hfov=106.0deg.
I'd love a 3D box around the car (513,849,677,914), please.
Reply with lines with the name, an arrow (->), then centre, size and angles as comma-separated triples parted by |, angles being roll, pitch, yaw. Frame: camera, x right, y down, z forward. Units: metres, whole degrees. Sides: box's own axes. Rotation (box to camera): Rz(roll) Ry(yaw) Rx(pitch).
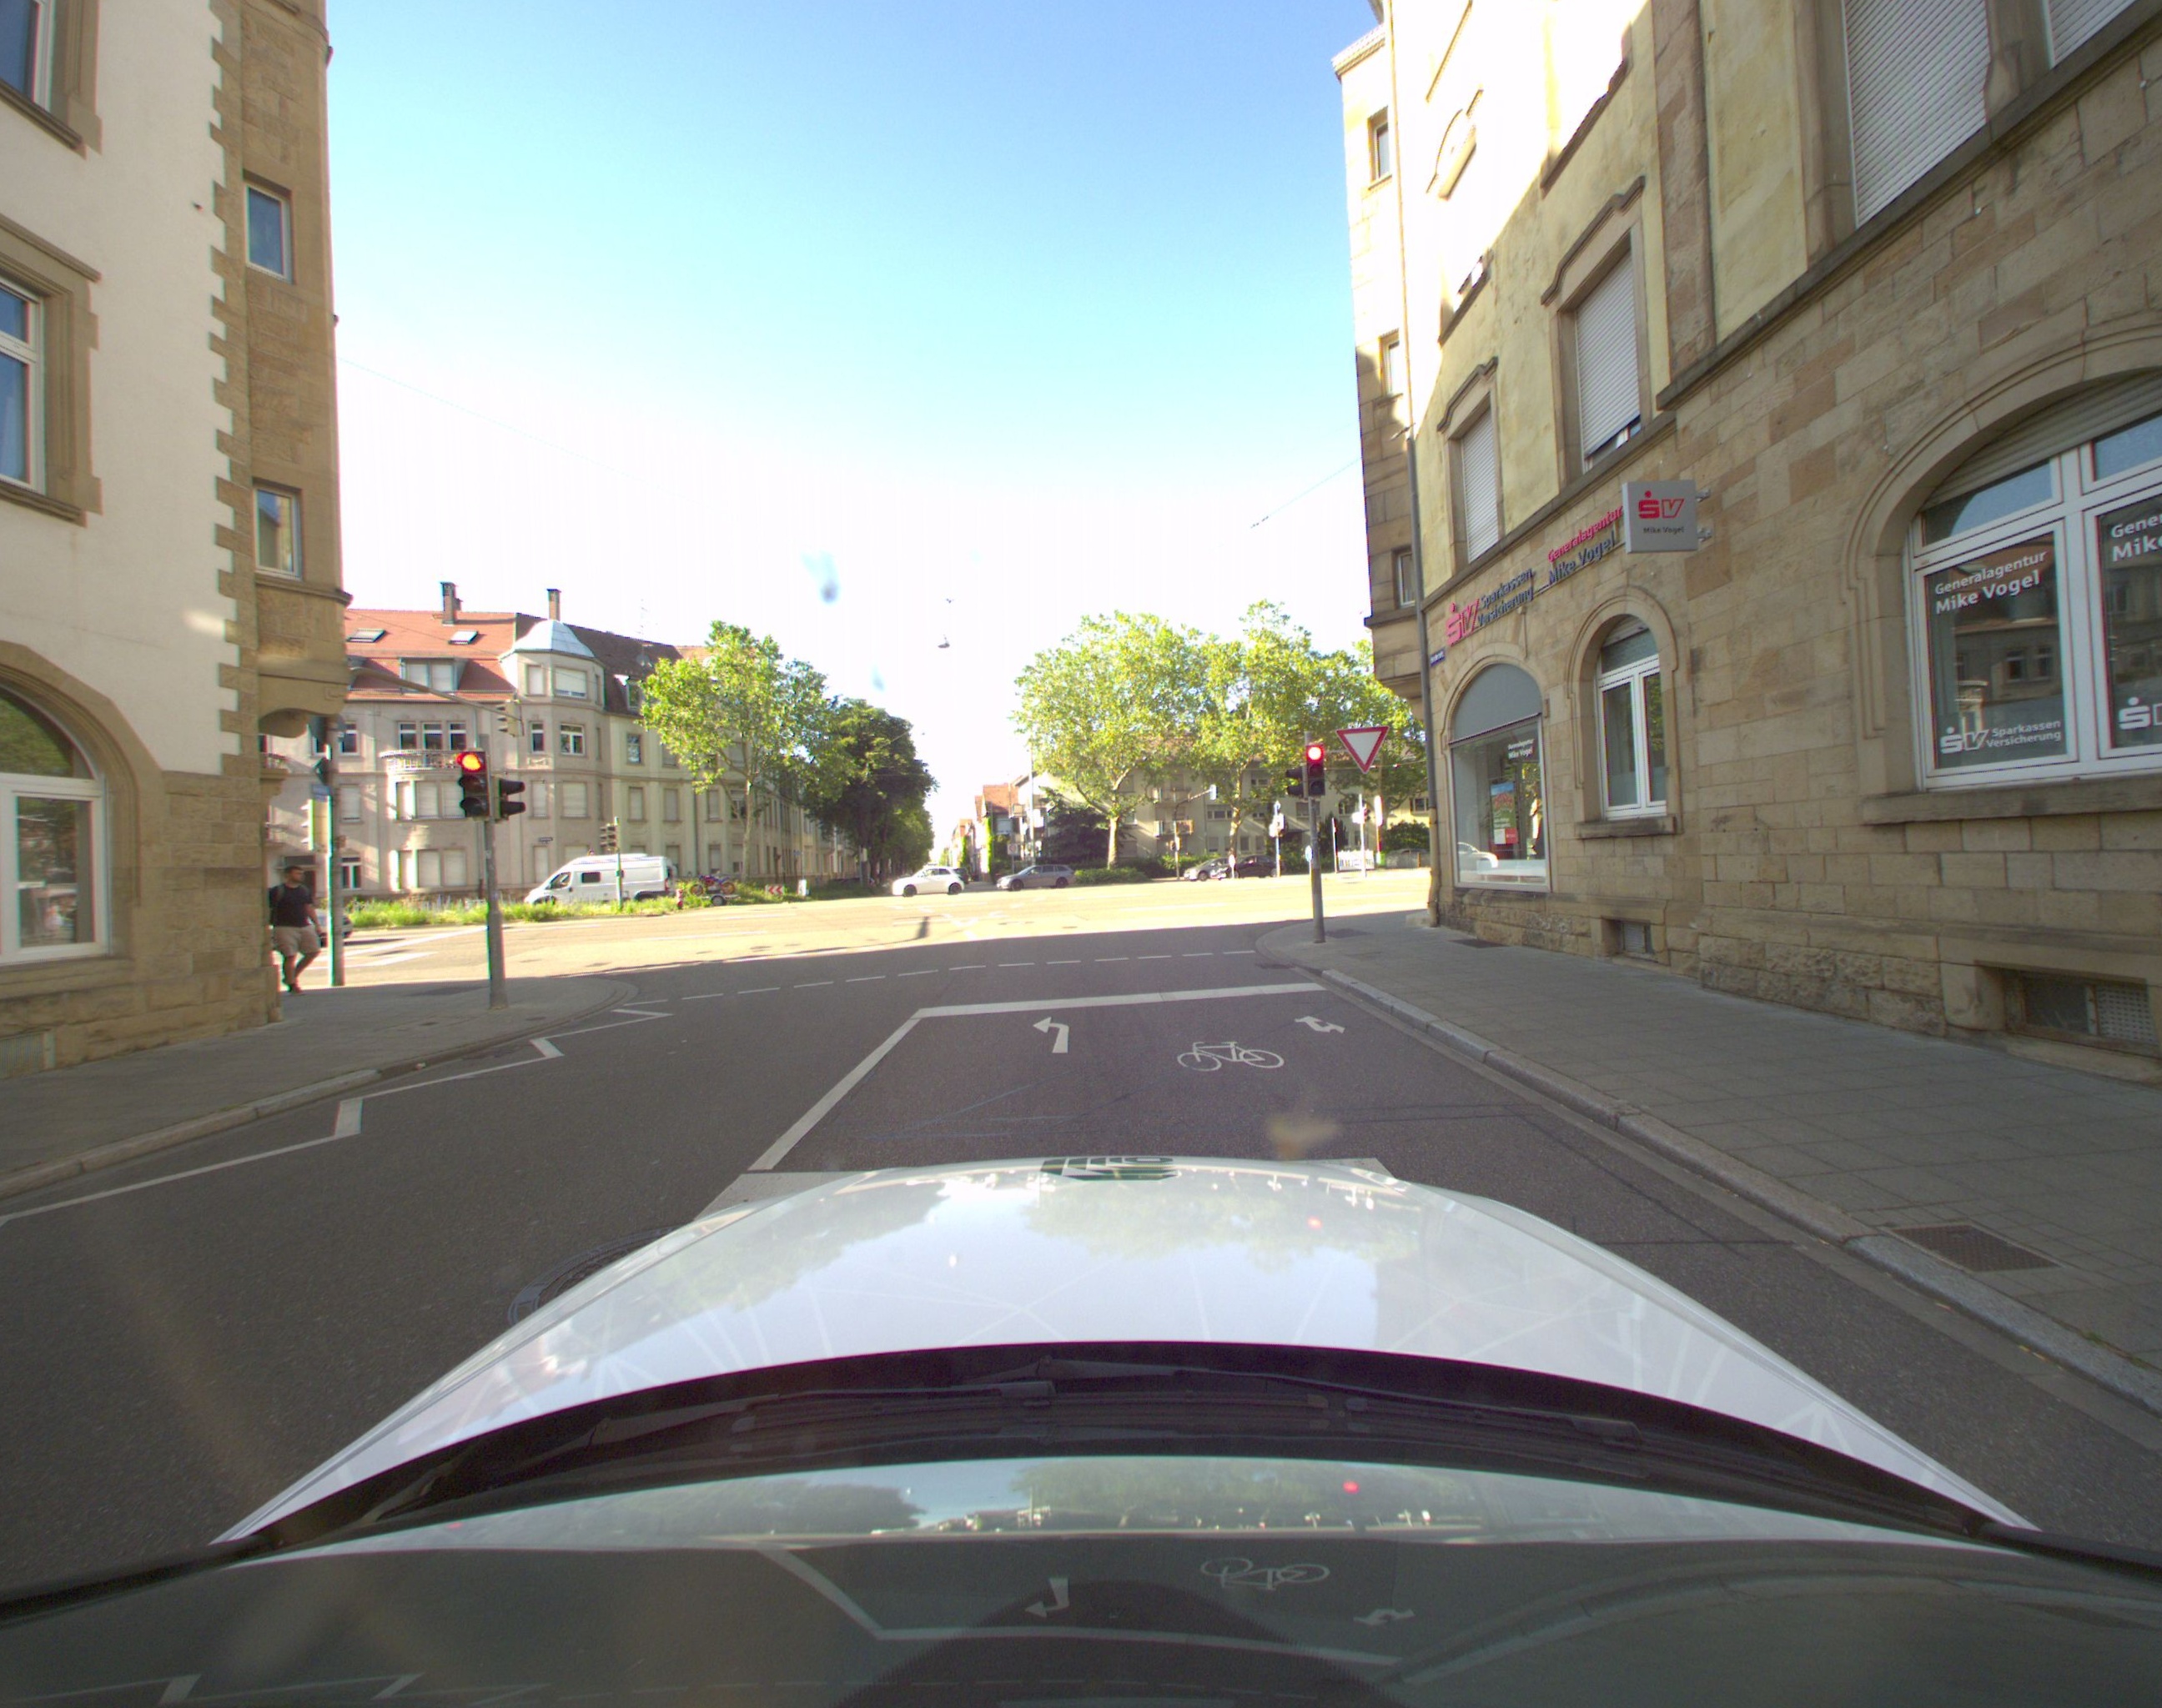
car -> -22.331, 1.212, 37.724 | 6.123, 2.637, 1.884 | -2, -1, -17

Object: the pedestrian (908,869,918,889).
pedestrian -> -12.163, 1.776, 58.880 | 0.704, 1.442, 0.487 | 0, -1, -15

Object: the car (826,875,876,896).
car -> -17.951, 2.473, 63.719 | 3.636, 1.457, 1.650 | -2, 0, -14

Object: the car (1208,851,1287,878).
car -> 9.734, 0.600, 47.732 | 4.281, 1.400, 1.635 | -2, 0, -20

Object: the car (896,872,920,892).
car -> -14.370, 2.307, 67.778 | 1.698, 1.483, 3.522 | -4, 0, -10

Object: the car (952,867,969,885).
car -> -14.136, 2.516, 95.333 | 1.773, 1.918, 3.522 | -4, 0, -10

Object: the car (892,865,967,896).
car -> -7.892, 1.355, 42.364 | 3.641, 1.457, 1.494 | -2, 0, -18

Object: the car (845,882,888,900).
car -> -19.677, 3.367, 74.826 | 3.636, 1.457, 1.650 | -2, 0, -14

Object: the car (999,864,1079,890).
car -> -2.470, 1.340, 47.707 | 4.399, 1.316, 1.636 | -2, 0, -18

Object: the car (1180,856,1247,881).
car -> 8.312, 0.902, 50.993 | 3.793, 1.400, 1.635 | -2, 0, -20

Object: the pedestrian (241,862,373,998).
pedestrian -> -11.006, 1.061, 11.627 | 1.066, 1.849, 0.746 | -1, -4, -11

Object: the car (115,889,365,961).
car -> -21.897, 1.811, 21.424 | 4.212, 1.456, 1.669 | -3, 0, -17

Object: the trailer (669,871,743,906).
trailer -> -17.965, 1.634, 39.125 | 2.955, 1.457, 1.505 | -2, 0, -18
